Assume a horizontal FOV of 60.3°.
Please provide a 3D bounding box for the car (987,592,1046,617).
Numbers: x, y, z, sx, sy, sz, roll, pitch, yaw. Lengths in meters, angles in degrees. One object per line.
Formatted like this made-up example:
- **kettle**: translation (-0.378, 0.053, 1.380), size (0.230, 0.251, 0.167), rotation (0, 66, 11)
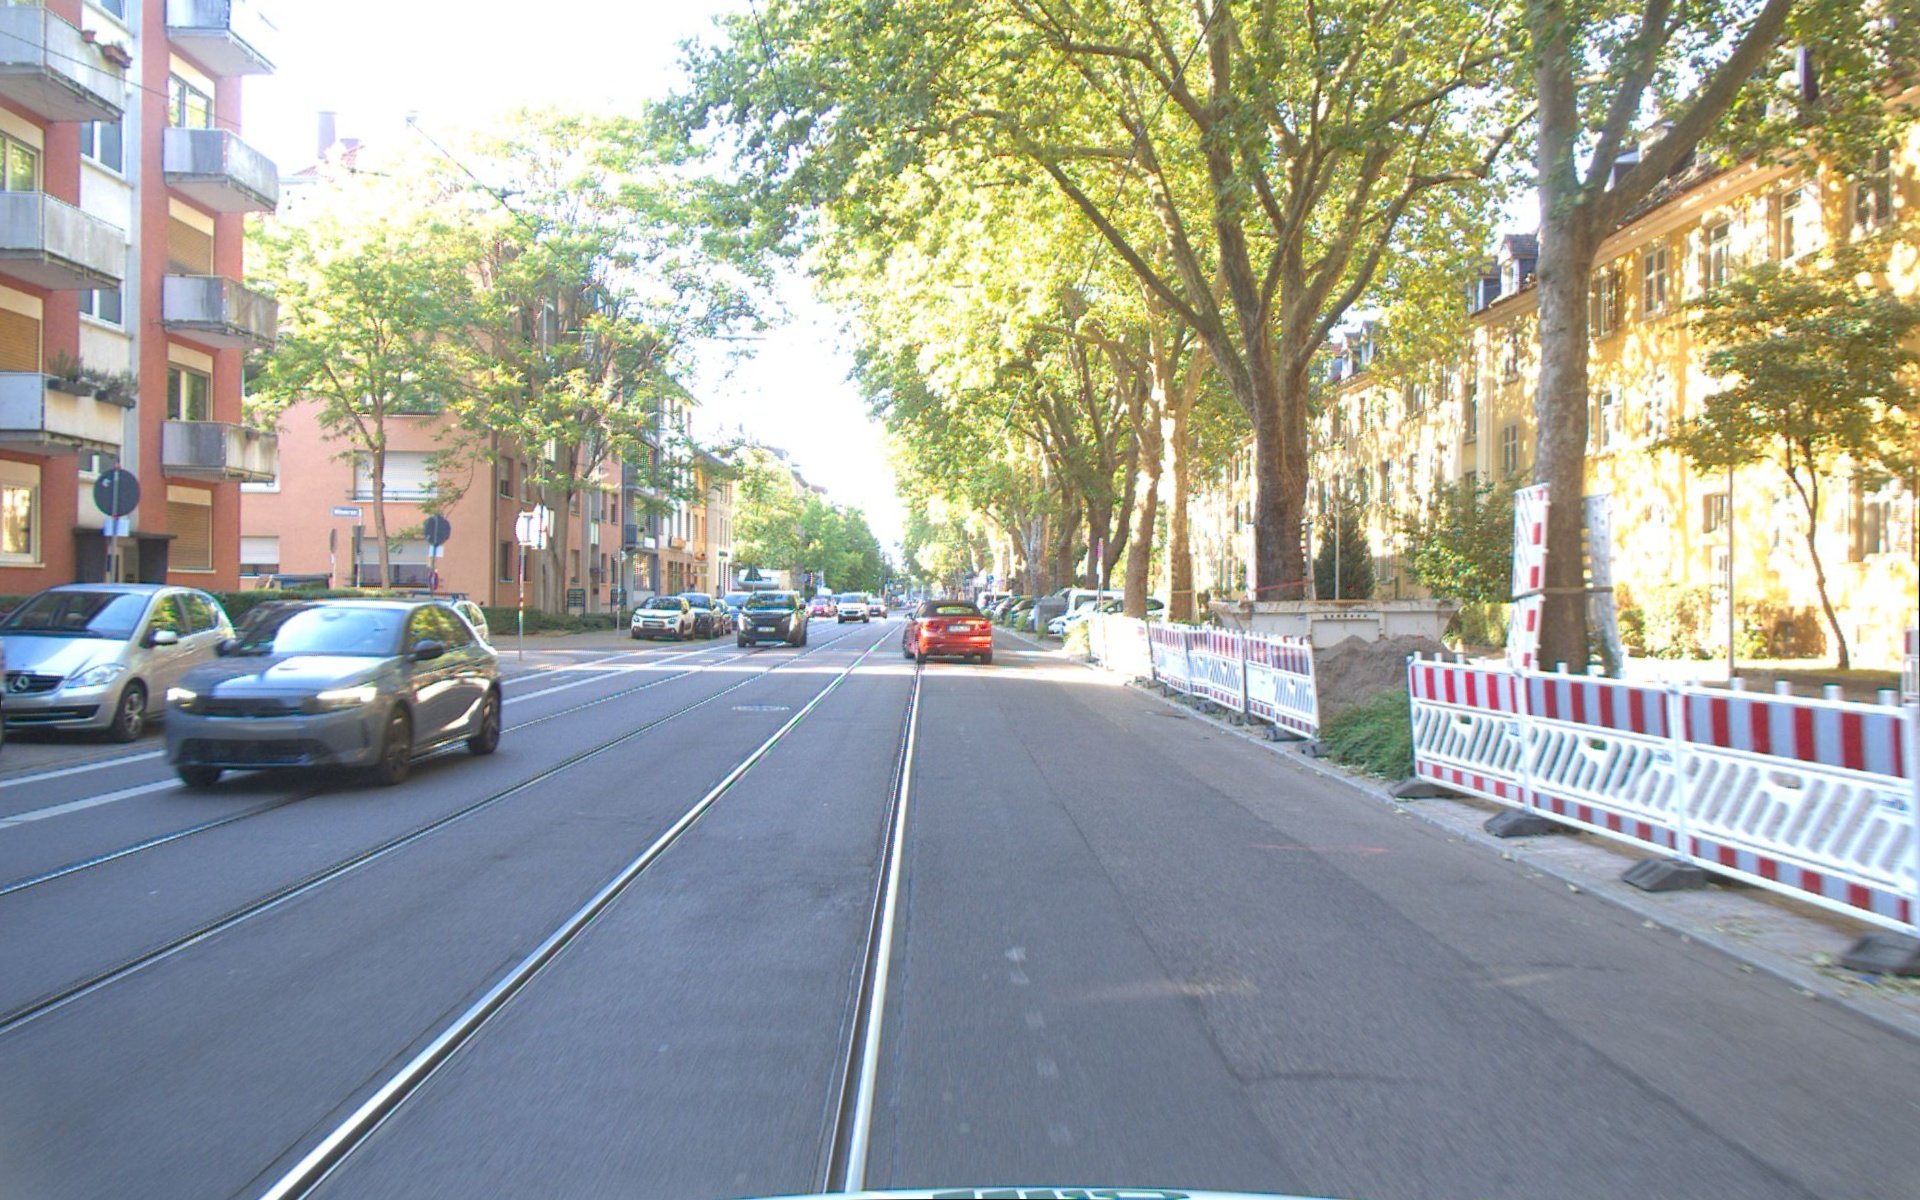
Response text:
- **car**: translation (3.814, 0.307, 111.401), size (3.845, 1.699, 1.960), rotation (0, 0, -3)

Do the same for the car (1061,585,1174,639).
- **car**: translation (5.354, 0.388, 56.533), size (3.764, 1.803, 1.917), rotation (0, 0, 3)

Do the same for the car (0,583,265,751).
- **car**: translation (-9.320, 0.646, 18.209), size (1.783, 1.614, 4.003), rotation (1, 0, -3)

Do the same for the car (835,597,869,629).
- **car**: translation (-6.604, 0.778, 101.746), size (1.853, 1.864, 4.894), rotation (0, 0, -1)

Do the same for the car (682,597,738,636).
- **car**: translation (-10.182, 0.652, 67.583), size (1.703, 1.425, 4.381), rotation (2, 0, -2)

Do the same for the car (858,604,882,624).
- **car**: translation (-6.885, 1.074, 127.037), size (1.740, 1.483, 4.201), rotation (-1, 0, -1)

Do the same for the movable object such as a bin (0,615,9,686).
- **movable object such as a bin**: translation (-14.051, 0.730, 23.885), size (0.423, 1.024, 0.352), rotation (0, 0, 0)

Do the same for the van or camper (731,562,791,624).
- **van or camper**: translation (-10.698, -0.389, 89.448), size (2.290, 3.094, 6.397), rotation (3, 0, 0)

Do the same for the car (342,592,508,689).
- **car**: translation (-9.240, 0.654, 28.880), size (1.690, 1.509, 3.928), rotation (3, 0, -2)

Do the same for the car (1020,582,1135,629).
- **car**: translation (5.085, 0.244, 72.022), size (4.740, 1.997, 2.063), rotation (0, 0, -4)

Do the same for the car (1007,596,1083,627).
- **car**: translation (4.333, 0.579, 84.815), size (3.760, 1.536, 1.710), rotation (0, 0, -2)

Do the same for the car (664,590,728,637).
- **car**: translation (-9.916, 0.476, 62.439), size (1.745, 1.638, 4.586), rotation (3, 0, -2)

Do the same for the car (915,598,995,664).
- **car**: translation (-0.131, 0.679, 38.839), size (1.756, 1.413, 4.236), rotation (1, 0, -1)

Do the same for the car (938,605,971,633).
- **car**: translation (-0.355, 1.155, 100.934), size (1.879, 1.612, 3.790), rotation (-1, 0, -1)

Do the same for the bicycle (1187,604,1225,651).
- **bicycle**: translation (6.425, 0.711, 43.343), size (0.676, 1.174, 1.948), rotation (0, 0, -1)

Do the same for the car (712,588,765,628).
- **car**: translation (-10.297, 0.362, 77.199), size (1.913, 1.716, 5.068), rotation (2, 0, -2)

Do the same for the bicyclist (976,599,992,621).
- **bicyclist**: translation (1.838, 0.756, 128.071), size (1.027, 1.735, 1.055), rotation (0, 0, -11)

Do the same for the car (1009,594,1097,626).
- **car**: translation (4.523, 0.477, 80.912), size (4.161, 1.509, 1.897), rotation (0, 0, -2)

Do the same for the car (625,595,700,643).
- **car**: translation (-10.179, 0.631, 56.871), size (1.769, 1.504, 4.089), rotation (2, 0, 0)

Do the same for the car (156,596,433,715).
- **car**: translation (-9.237, 0.701, 23.468), size (1.912, 1.419, 4.862), rotation (3, 0, 0)

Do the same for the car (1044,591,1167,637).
- **car**: translation (5.113, 0.494, 58.554), size (4.279, 1.569, 1.802), rotation (0, 1, 3)

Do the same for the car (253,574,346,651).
- **car**: translation (-19.485, 0.358, 48.690), size (1.972, 2.160, 4.677), rotation (1, 0, -29)

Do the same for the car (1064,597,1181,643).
- **car**: translation (5.330, 0.641, 54.570), size (3.764, 1.458, 1.852), rotation (0, 0, 3)

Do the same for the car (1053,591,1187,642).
- **car**: translation (5.023, 0.525, 52.244), size (4.006, 1.548, 1.915), rotation (0, -1, -3)

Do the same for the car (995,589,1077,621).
- **car**: translation (4.199, 0.256, 91.271), size (4.402, 1.630, 2.028), rotation (-2, 0, 3)

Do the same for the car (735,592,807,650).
- **car**: translation (-5.581, 0.589, 49.364), size (1.816, 1.628, 4.462), rotation (0, 0, -3)

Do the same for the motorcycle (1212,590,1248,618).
- **motorcycle**: translation (14.532, 0.225, 89.033), size (1.768, 1.385, 0.622), rotation (-3, 0, -4)

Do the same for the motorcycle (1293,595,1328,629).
- **motorcycle**: translation (12.340, 0.421, 58.338), size (0.700, 1.173, 2.263), rotation (-1, 0, -1)

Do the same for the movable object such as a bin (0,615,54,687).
- **movable object such as a bin**: translation (-13.513, 0.735, 23.965), size (0.532, 1.024, 0.442), rotation (0, 0, 0)

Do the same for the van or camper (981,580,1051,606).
- **van or camper**: translation (4.565, -0.587, 135.486), size (5.448, 2.048, 2.242), rotation (0, 3, -6)

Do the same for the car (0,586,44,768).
- **car**: translation (-9.238, 0.647, 13.281), size (1.593, 1.599, 3.781), rotation (2, 0, 0)

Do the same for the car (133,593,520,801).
- **car**: translation (-5.148, 0.696, 14.075), size (1.759, 1.471, 4.052), rotation (-1, 0, -1)
